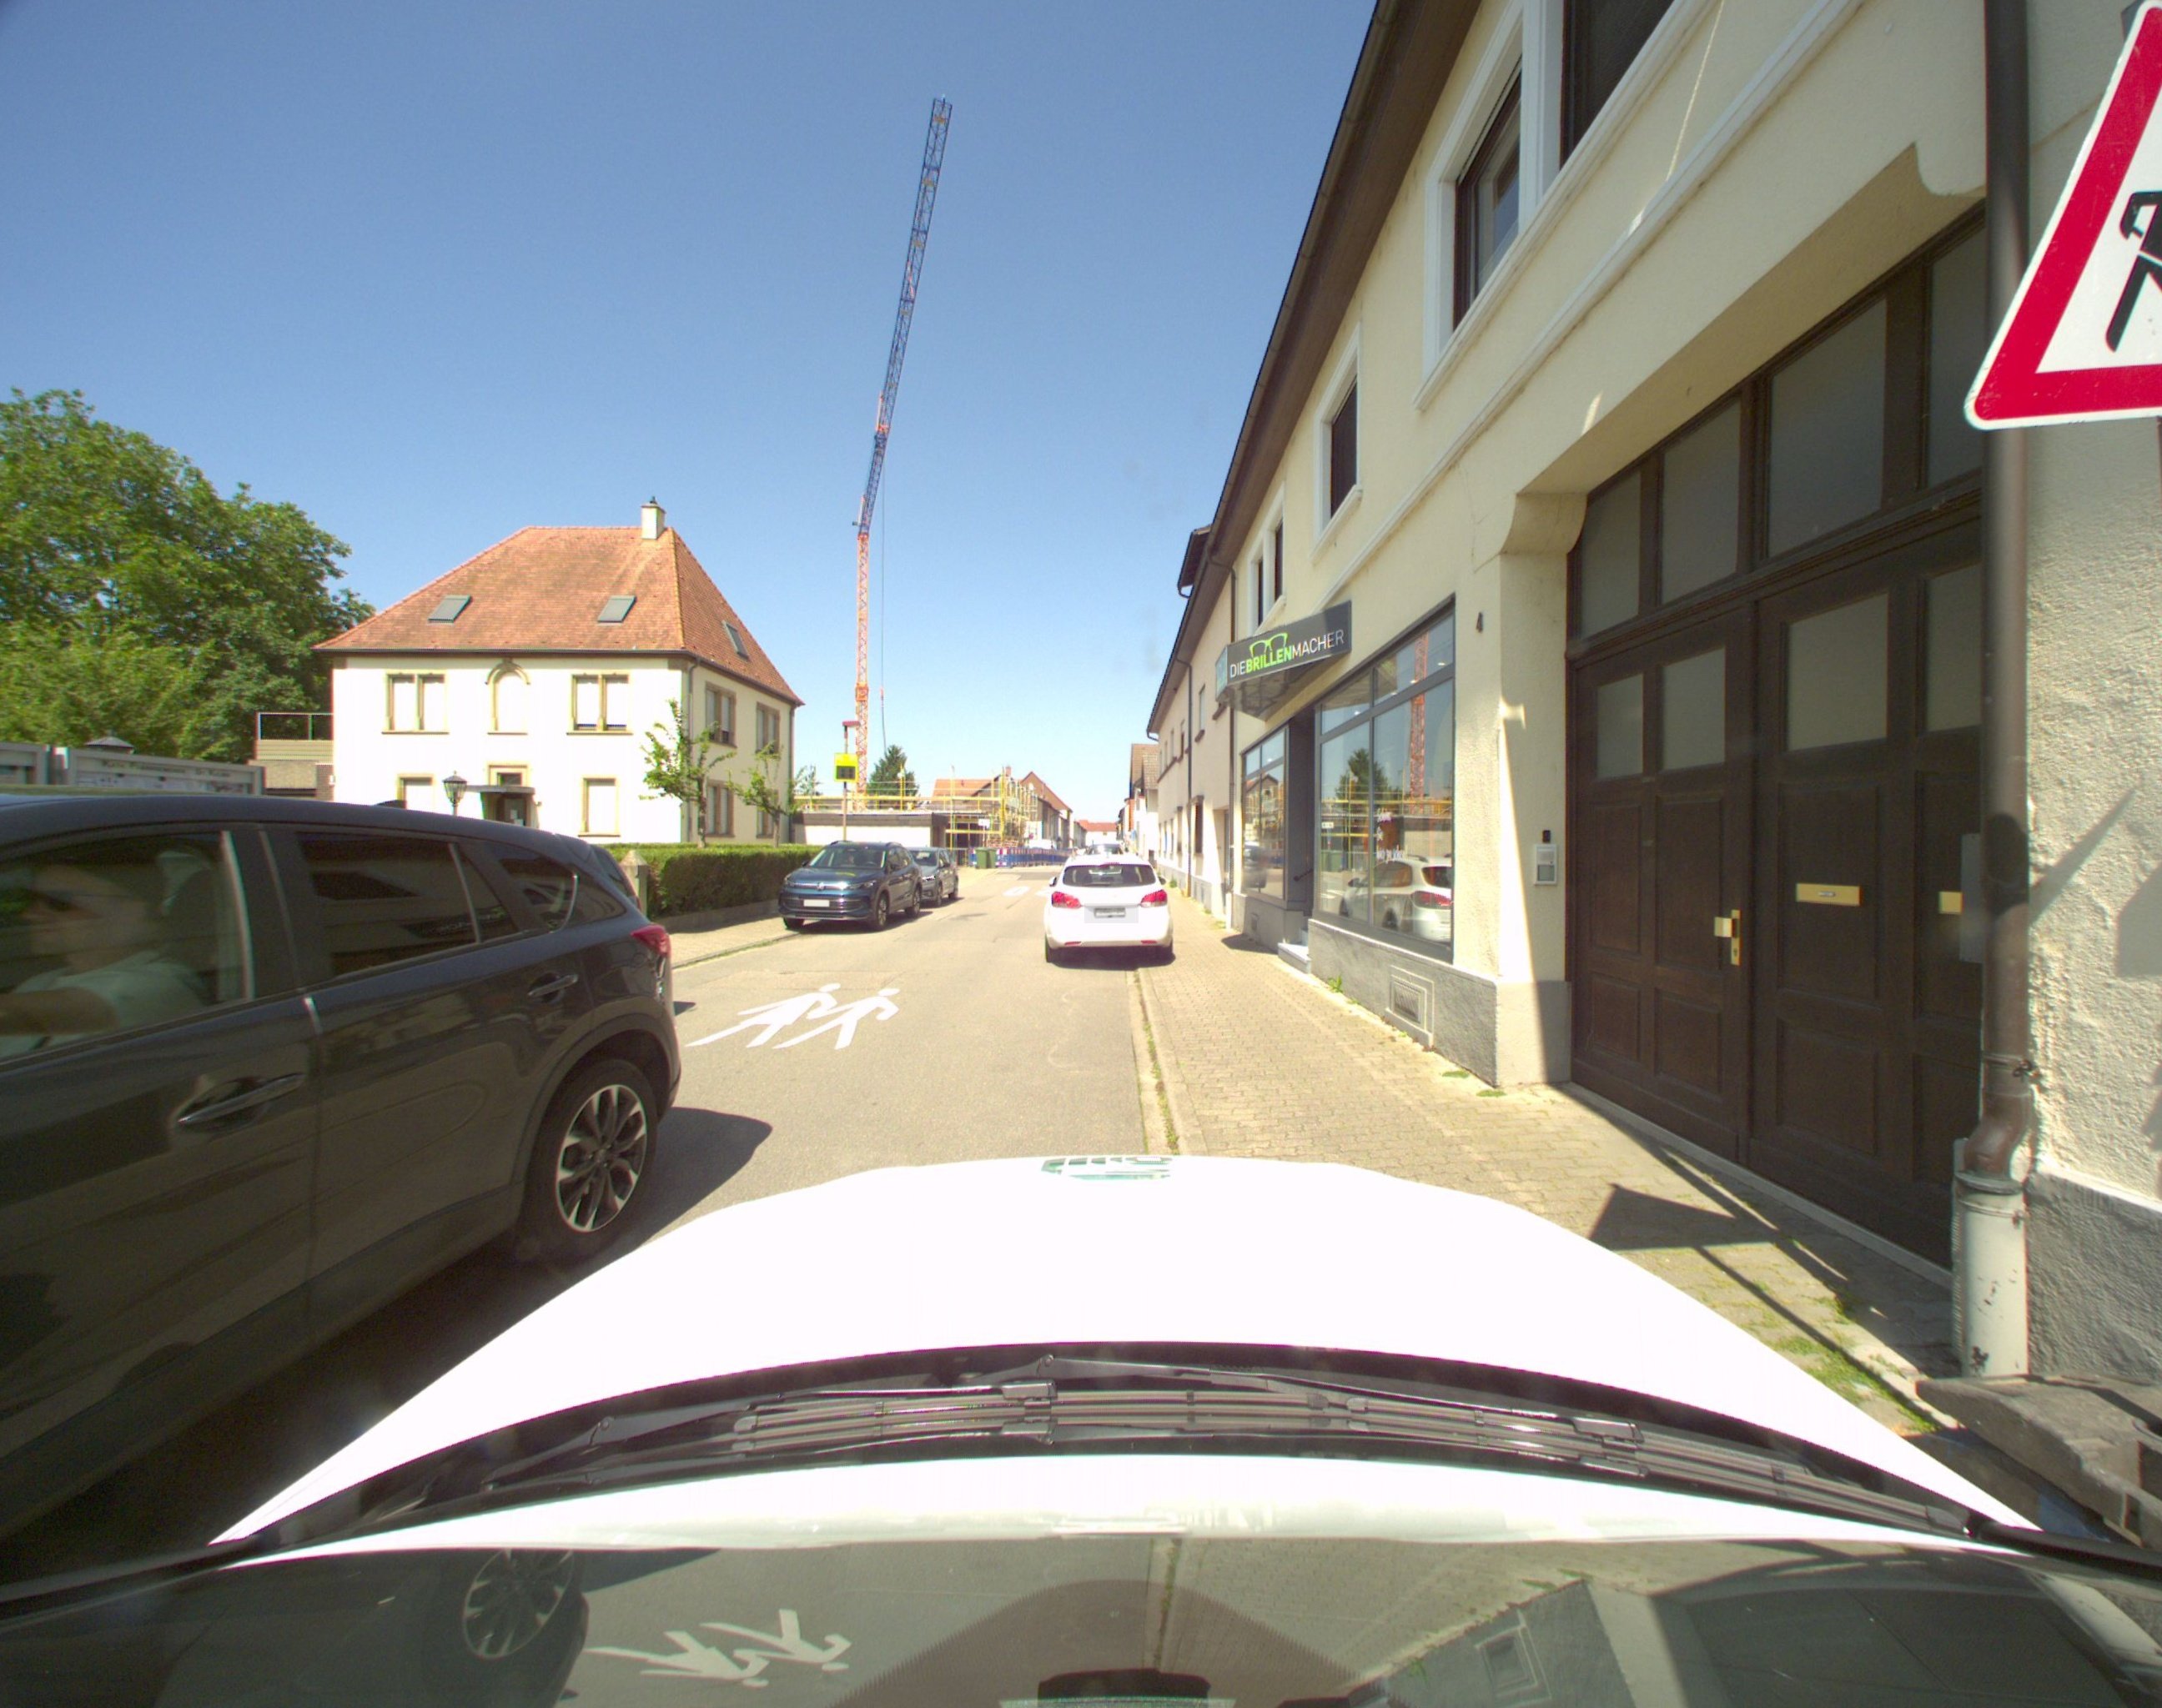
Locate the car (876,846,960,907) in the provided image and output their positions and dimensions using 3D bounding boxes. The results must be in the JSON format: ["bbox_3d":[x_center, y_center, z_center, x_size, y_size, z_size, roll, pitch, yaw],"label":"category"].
[{"bbox_3d":[-4.250,0.536,21.749,1.431,1.474,3.786,0,0,1],"label":"car"}]

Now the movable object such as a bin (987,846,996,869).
[{"bbox_3d":[-4.566,0.192,41.488,0.431,1.155,0.363,0,0,-8],"label":"movable object such as a bin"}]

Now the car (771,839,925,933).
[{"bbox_3d":[-4.494,0.541,16.388,1.820,1.630,4.218,0,0,1],"label":"car"}]

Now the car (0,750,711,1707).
[{"bbox_3d":[-2.766,0.651,1.765,1.874,1.668,4.156,0,0,2],"label":"car"}]

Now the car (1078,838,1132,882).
[{"bbox_3d":[0.899,0.194,32.219,1.879,1.556,3.893,-3,1,-1],"label":"car"}]

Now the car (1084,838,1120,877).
[{"bbox_3d":[0.983,0.101,37.560,1.558,1.612,3.544,0,3,1],"label":"car"}]

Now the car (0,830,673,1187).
[{"bbox_3d":[-4.608,0.679,5.601,1.632,1.628,3.769,0,1,1],"label":"car"}]

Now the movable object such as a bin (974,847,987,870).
[{"bbox_3d":[-5.038,0.234,41.016,0.621,1.155,0.676,0,1,-6],"label":"movable object such as a bin"}]

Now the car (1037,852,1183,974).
[{"bbox_3d":[0.288,0.749,12.589,1.882,1.542,4.239,0,1,-2],"label":"car"}]
